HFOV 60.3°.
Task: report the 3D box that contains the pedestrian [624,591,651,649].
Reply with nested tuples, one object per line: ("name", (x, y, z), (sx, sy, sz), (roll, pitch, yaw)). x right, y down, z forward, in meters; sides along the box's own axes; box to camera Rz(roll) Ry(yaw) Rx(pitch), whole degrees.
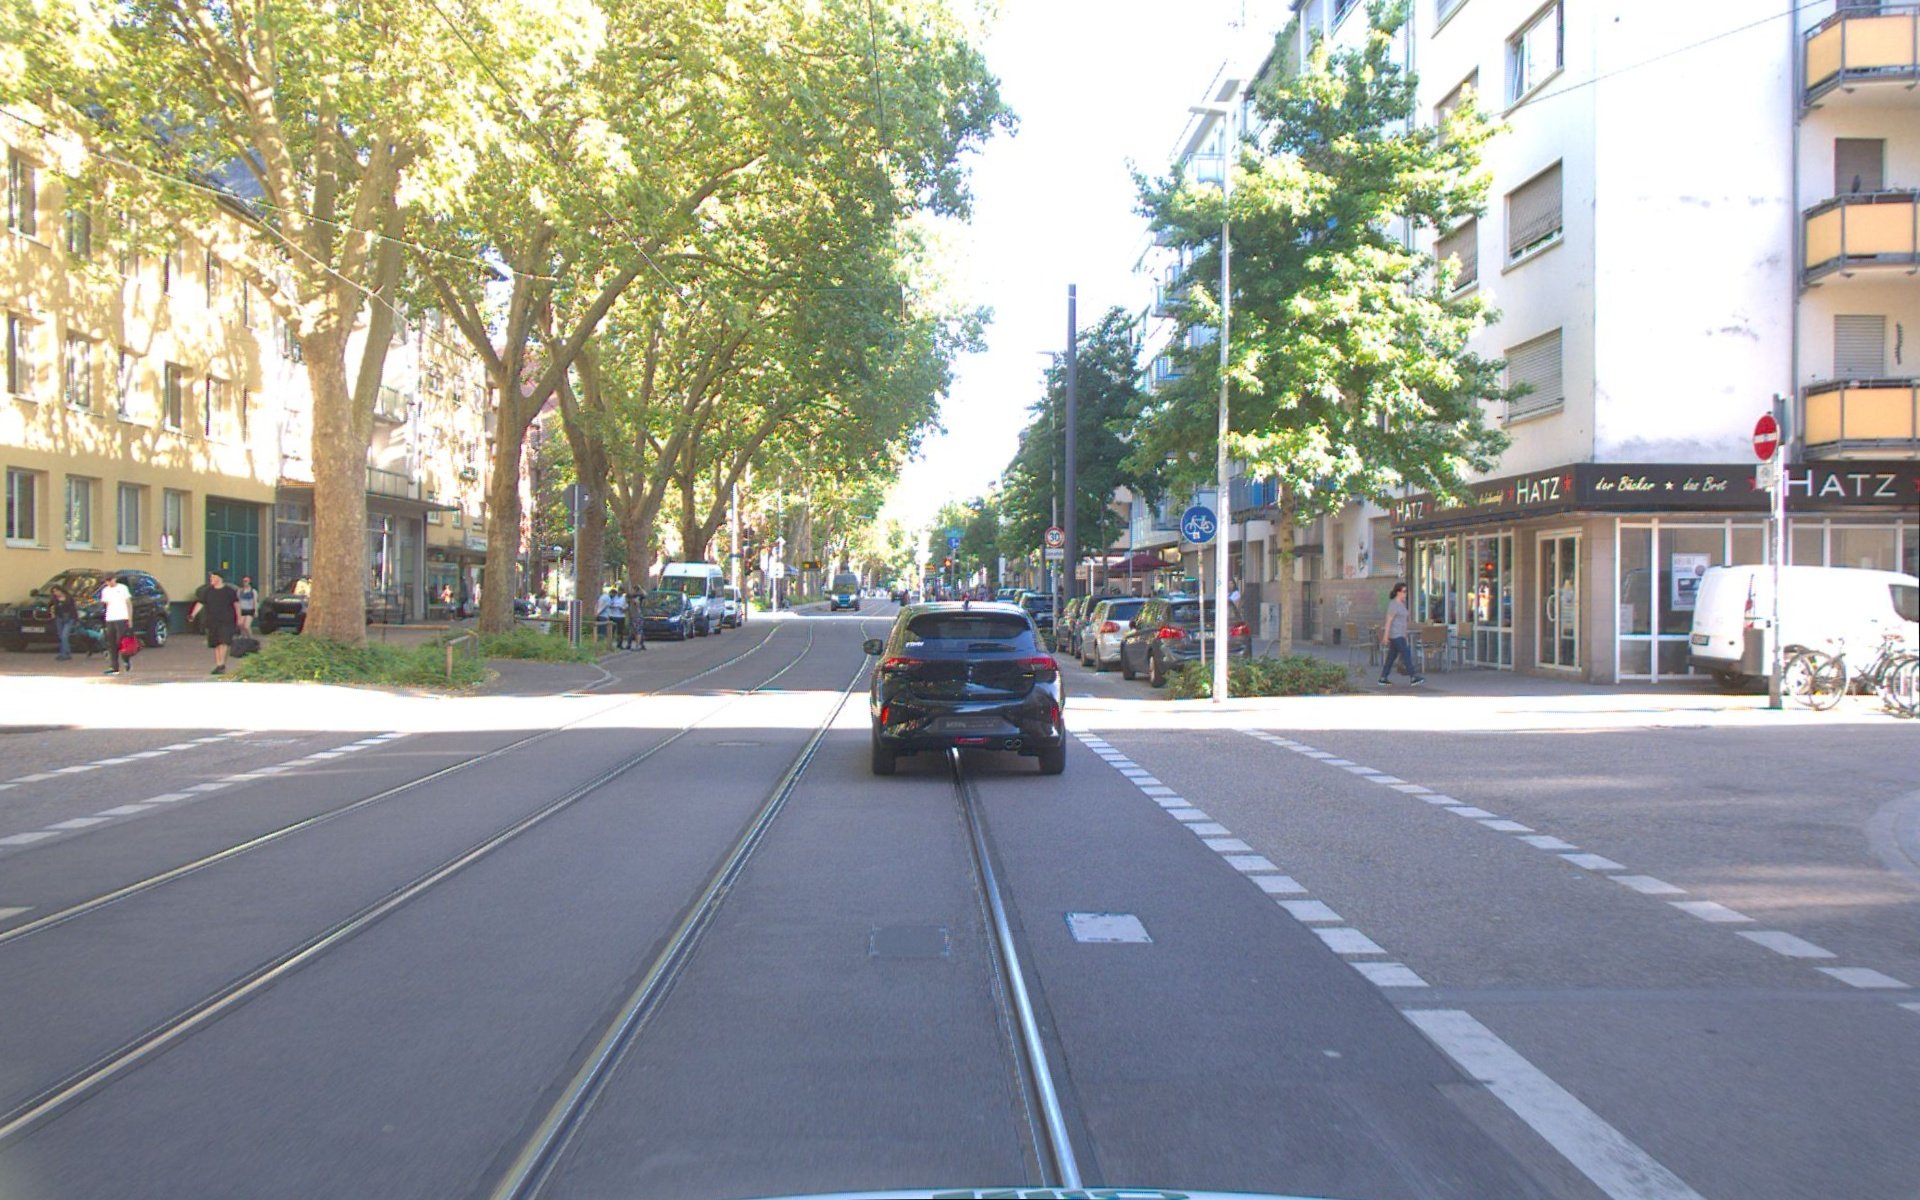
("pedestrian", (-9.102, 0.562, 46.669), (0.670, 1.610, 0.557), (0, 0, -4))

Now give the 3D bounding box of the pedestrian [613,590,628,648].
("pedestrian", (-9.450, 0.521, 46.000), (0.339, 1.610, 0.508), (0, 0, -3))

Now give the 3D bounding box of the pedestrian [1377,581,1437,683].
("pedestrian", (7.383, 0.511, 27.315), (0.838, 1.645, 0.769), (0, 0, 26))

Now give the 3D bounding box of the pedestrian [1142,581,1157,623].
("pedestrian", (8.108, 0.088, 70.837), (0.616, 1.763, 0.632), (0, 0, 4))

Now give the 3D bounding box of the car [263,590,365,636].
("car", (-19.521, 0.374, 50.127), (1.661, 1.298, 3.827), (0, 1, -2))

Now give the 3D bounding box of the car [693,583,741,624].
("car", (-10.609, 0.148, 72.399), (1.956, 1.747, 3.994), (0, 0, -7))

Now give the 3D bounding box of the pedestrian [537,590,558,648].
("pedestrian", (-11.499, 0.518, 46.128), (0.497, 1.610, 0.526), (0, 0, -8))

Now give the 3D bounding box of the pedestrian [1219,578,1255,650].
("pedestrian", (6.880, 0.349, 41.059), (0.776, 1.779, 0.770), (0, 0, 1))

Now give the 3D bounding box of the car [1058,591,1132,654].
("car", (3.575, 0.566, 44.224), (1.683, 1.601, 3.682), (0, 0, 0))

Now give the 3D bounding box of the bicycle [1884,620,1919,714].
("bicycle", (12.503, 0.823, 20.482), (1.734, 1.136, 0.614), (0, 0, 11))

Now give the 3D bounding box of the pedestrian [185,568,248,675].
("pedestrian", (-13.418, 0.382, 29.873), (0.888, 1.901, 0.643), (0, 0, -7))

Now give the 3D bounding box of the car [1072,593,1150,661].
("car", (3.624, 0.621, 40.116), (1.617, 1.601, 3.083), (0, 0, 0))

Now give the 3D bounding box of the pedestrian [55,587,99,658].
("pedestrian", (-17.863, 0.442, 33.470), (0.540, 1.427, 0.649), (0, 0, 2))

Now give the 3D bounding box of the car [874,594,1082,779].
("car", (0.085, 0.698, 15.178), (1.646, 1.447, 3.626), (2, 0, -2))

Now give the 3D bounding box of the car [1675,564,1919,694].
("car", (13.300, 0.408, 24.849), (4.274, 1.863, 1.998), (0, 0, -6))

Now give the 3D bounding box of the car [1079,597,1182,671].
("car", (3.623, 0.692, 35.708), (1.684, 1.516, 3.679), (0, 0, -3))

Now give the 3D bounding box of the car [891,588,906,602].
("car", (-7.562, -0.656, 202.461), (1.714, 1.680, 4.000), (0, 0, 0))

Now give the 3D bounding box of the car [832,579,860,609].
("car", (-8.654, -0.450, 124.794), (1.955, 2.250, 5.096), (0, 0, -6))

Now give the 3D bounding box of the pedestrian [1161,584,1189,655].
("pedestrian", (5.172, 0.461, 39.789), (0.588, 1.680, 0.631), (0, 0, 0))

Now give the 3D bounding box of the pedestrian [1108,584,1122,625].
("pedestrian", (6.744, 0.189, 71.933), (0.616, 1.763, 0.632), (0, 0, 3))

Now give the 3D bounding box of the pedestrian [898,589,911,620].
("pedestrian", (-2.870, 0.221, 85.428), (0.584, 1.618, 0.891), (0, 0, -8))

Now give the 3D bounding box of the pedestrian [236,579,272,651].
("pedestrian", (-16.781, 0.351, 39.327), (0.540, 1.681, 0.649), (0, 0, 2))

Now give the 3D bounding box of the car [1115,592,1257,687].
("car", (4.036, 0.656, 30.142), (1.685, 1.601, 4.080), (0, 0, -5))

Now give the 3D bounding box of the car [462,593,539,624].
("car", (-25.767, 0.454, 92.912), (3.912, 1.736, 1.996), (0, 0, -8))

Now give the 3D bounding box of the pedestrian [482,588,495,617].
("pedestrian", (-21.873, 0.113, 76.747), (0.497, 1.356, 0.526), (0, 0, -5))

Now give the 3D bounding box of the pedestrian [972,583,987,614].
("pedestrian", (1.340, -0.100, 112.917), (0.839, 2.048, 1.069), (-4, 0, -1))

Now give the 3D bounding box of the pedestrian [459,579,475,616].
("pedestrian", (-21.625, -0.102, 72.563), (0.542, 1.610, 0.573), (0, 0, -6))

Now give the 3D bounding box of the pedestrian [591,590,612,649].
("pedestrian", (-9.873, 0.524, 45.550), (0.497, 1.610, 0.526), (0, 0, -6))

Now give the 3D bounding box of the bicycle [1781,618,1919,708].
("bicycle", (11.741, 0.813, 21.491), (1.797, 1.136, 0.703), (0, 0, 1))

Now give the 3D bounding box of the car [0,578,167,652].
("car", (-19.517, 0.307, 37.012), (1.647, 1.543, 3.999), (1, 0, -1))

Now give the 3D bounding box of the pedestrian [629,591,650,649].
("pedestrian", (-8.919, 0.544, 45.991), (0.496, 1.610, 0.526), (0, 0, -2))

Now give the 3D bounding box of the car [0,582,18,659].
("car", (-19.426, 0.399, 30.698), (1.647, 1.489, 3.999), (0, 0, -1))

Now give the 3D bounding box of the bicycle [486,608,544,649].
("bicycle", (-12.325, 0.786, 45.817), (1.659, 1.080, 0.452), (2, -1, 29))

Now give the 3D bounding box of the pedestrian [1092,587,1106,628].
("pedestrian", (6.049, 0.329, 72.000), (0.616, 1.763, 0.632), (0, 0, 3))

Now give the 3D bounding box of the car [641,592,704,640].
("car", (-9.618, 0.496, 55.532), (1.720, 1.534, 3.996), (0, 0, -5))

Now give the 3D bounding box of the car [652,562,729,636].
("car", (-9.989, -0.041, 61.758), (2.050, 2.629, 5.994), (0, 0, -2))

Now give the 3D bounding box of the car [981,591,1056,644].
("car", (1.884, 0.541, 54.691), (1.955, 1.668, 3.995), (0, 0, -6))

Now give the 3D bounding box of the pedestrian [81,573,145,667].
("pedestrian", (-15.044, 0.350, 29.383), (0.830, 1.661, 0.643), (0, 0, -7))
